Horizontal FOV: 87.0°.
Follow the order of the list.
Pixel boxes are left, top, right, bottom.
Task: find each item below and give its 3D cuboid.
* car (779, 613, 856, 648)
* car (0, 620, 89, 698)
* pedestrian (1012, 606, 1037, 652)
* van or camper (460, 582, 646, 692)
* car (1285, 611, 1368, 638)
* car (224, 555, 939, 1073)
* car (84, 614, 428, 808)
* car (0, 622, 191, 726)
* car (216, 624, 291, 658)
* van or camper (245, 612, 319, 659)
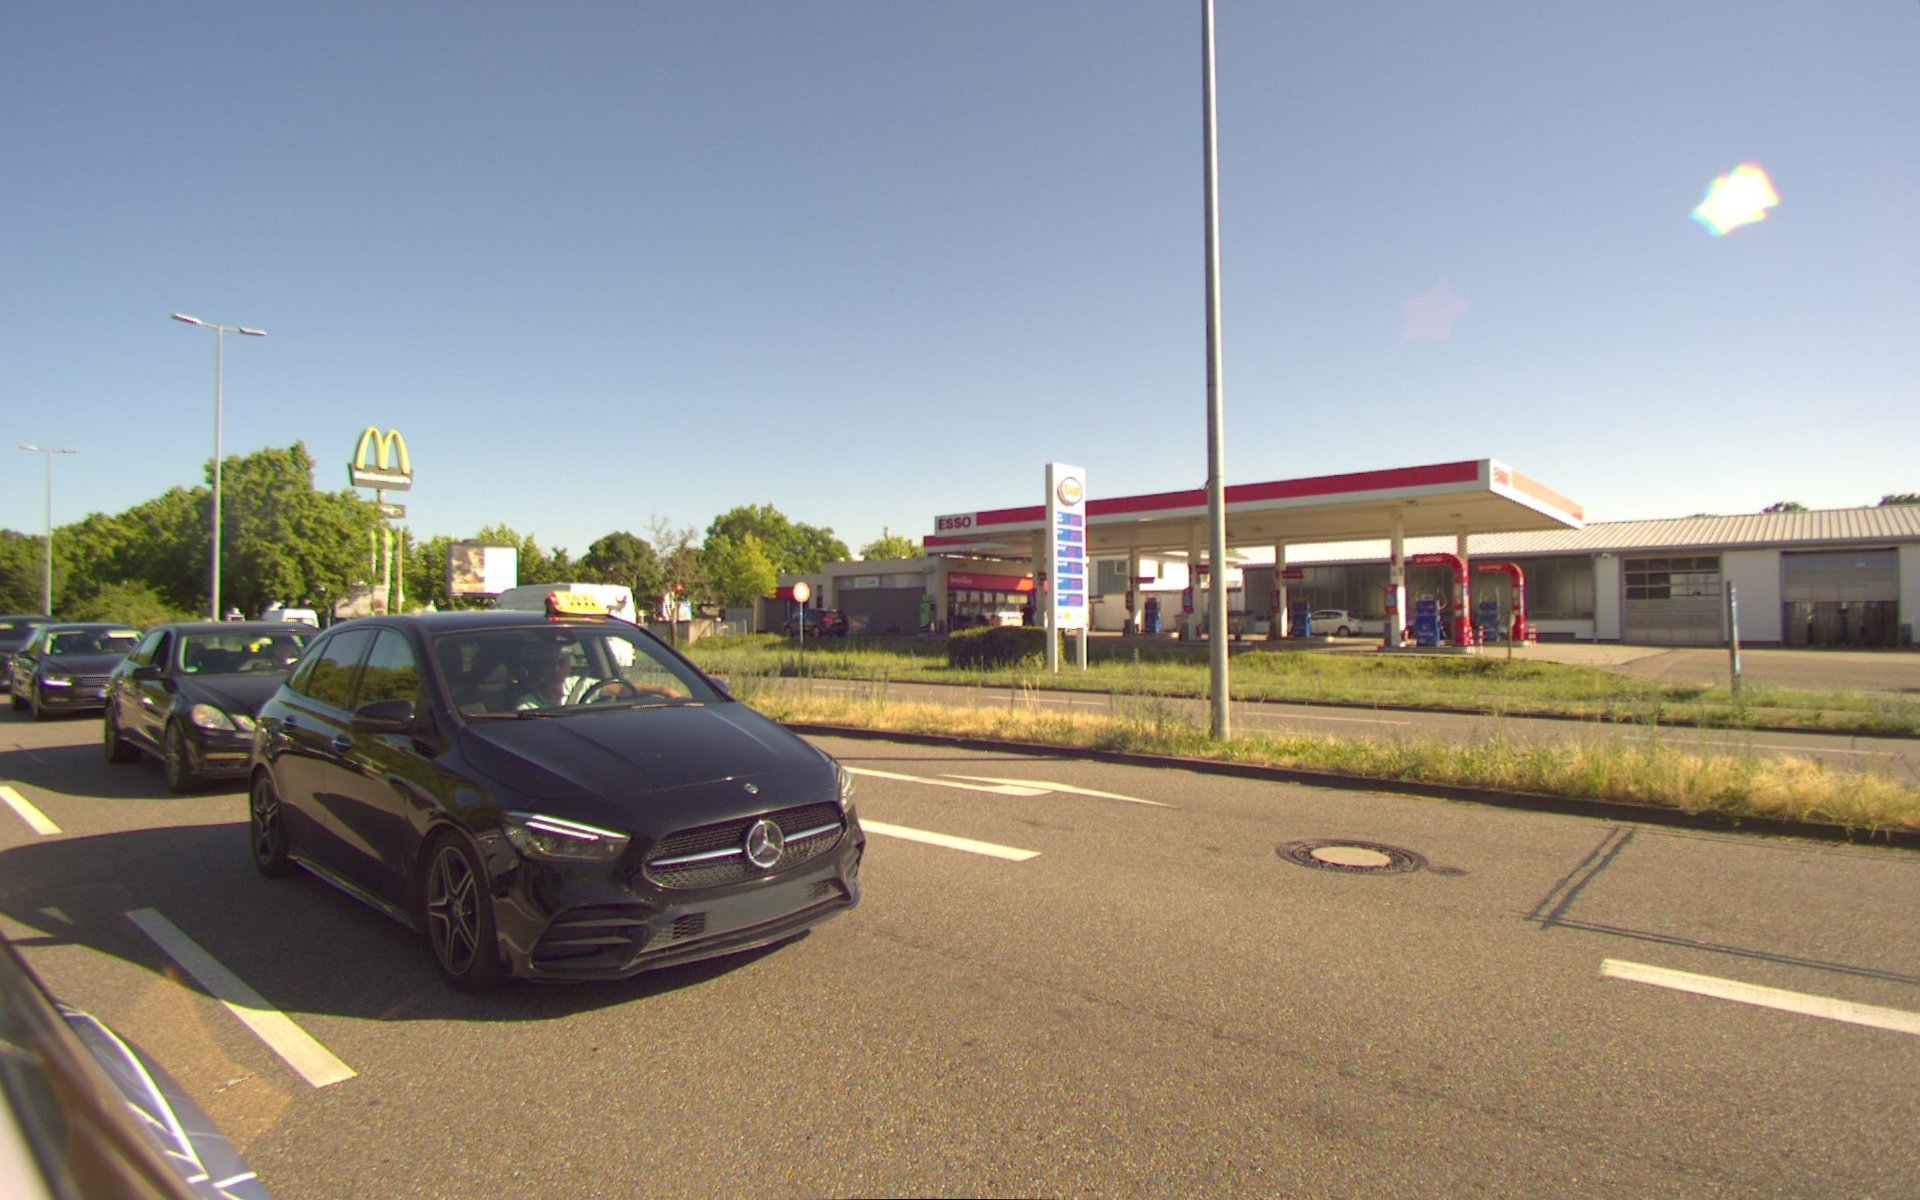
[{"bbox_3d":[-7.779,1.634,54.981,4.117,1.783,1.972,-2,-1,43],"label":"car"},{"bbox_3d":[-21.019,1.260,22.562,4.401,1.600,1.838,-2,-2,41],"label":"car"},{"bbox_3d":[2.842,1.281,44.786,0.840,2.029,0.694,-2,-2,41],"label":"pedestrian"},{"bbox_3d":[-11.069,0.955,27.174,2.153,2.592,6.757,1,-2,-45],"label":"van or camper"},{"bbox_3d":[19.840,1.337,54.870,3.844,1.450,1.730,-2,-2,39],"label":"car"},{"bbox_3d":[-2.241,0.731,5.294,4.187,1.638,1.780,-2,-2,42],"label":"car"},{"bbox_3d":[-7.205,0.934,10.173,4.401,1.535,1.838,-2,-2,41],"label":"car"},{"bbox_3d":[-14.431,1.128,16.772,4.401,1.492,1.838,-2,-2,41],"label":"car"},{"bbox_3d":[-36.541,2.119,52.303,4.609,1.666,1.973,-2,-4,40],"label":"car"},{"bbox_3d":[-40.289,2.124,60.074,5.952,2.671,1.973,-1,-4,40],"label":"van or camper"}]
